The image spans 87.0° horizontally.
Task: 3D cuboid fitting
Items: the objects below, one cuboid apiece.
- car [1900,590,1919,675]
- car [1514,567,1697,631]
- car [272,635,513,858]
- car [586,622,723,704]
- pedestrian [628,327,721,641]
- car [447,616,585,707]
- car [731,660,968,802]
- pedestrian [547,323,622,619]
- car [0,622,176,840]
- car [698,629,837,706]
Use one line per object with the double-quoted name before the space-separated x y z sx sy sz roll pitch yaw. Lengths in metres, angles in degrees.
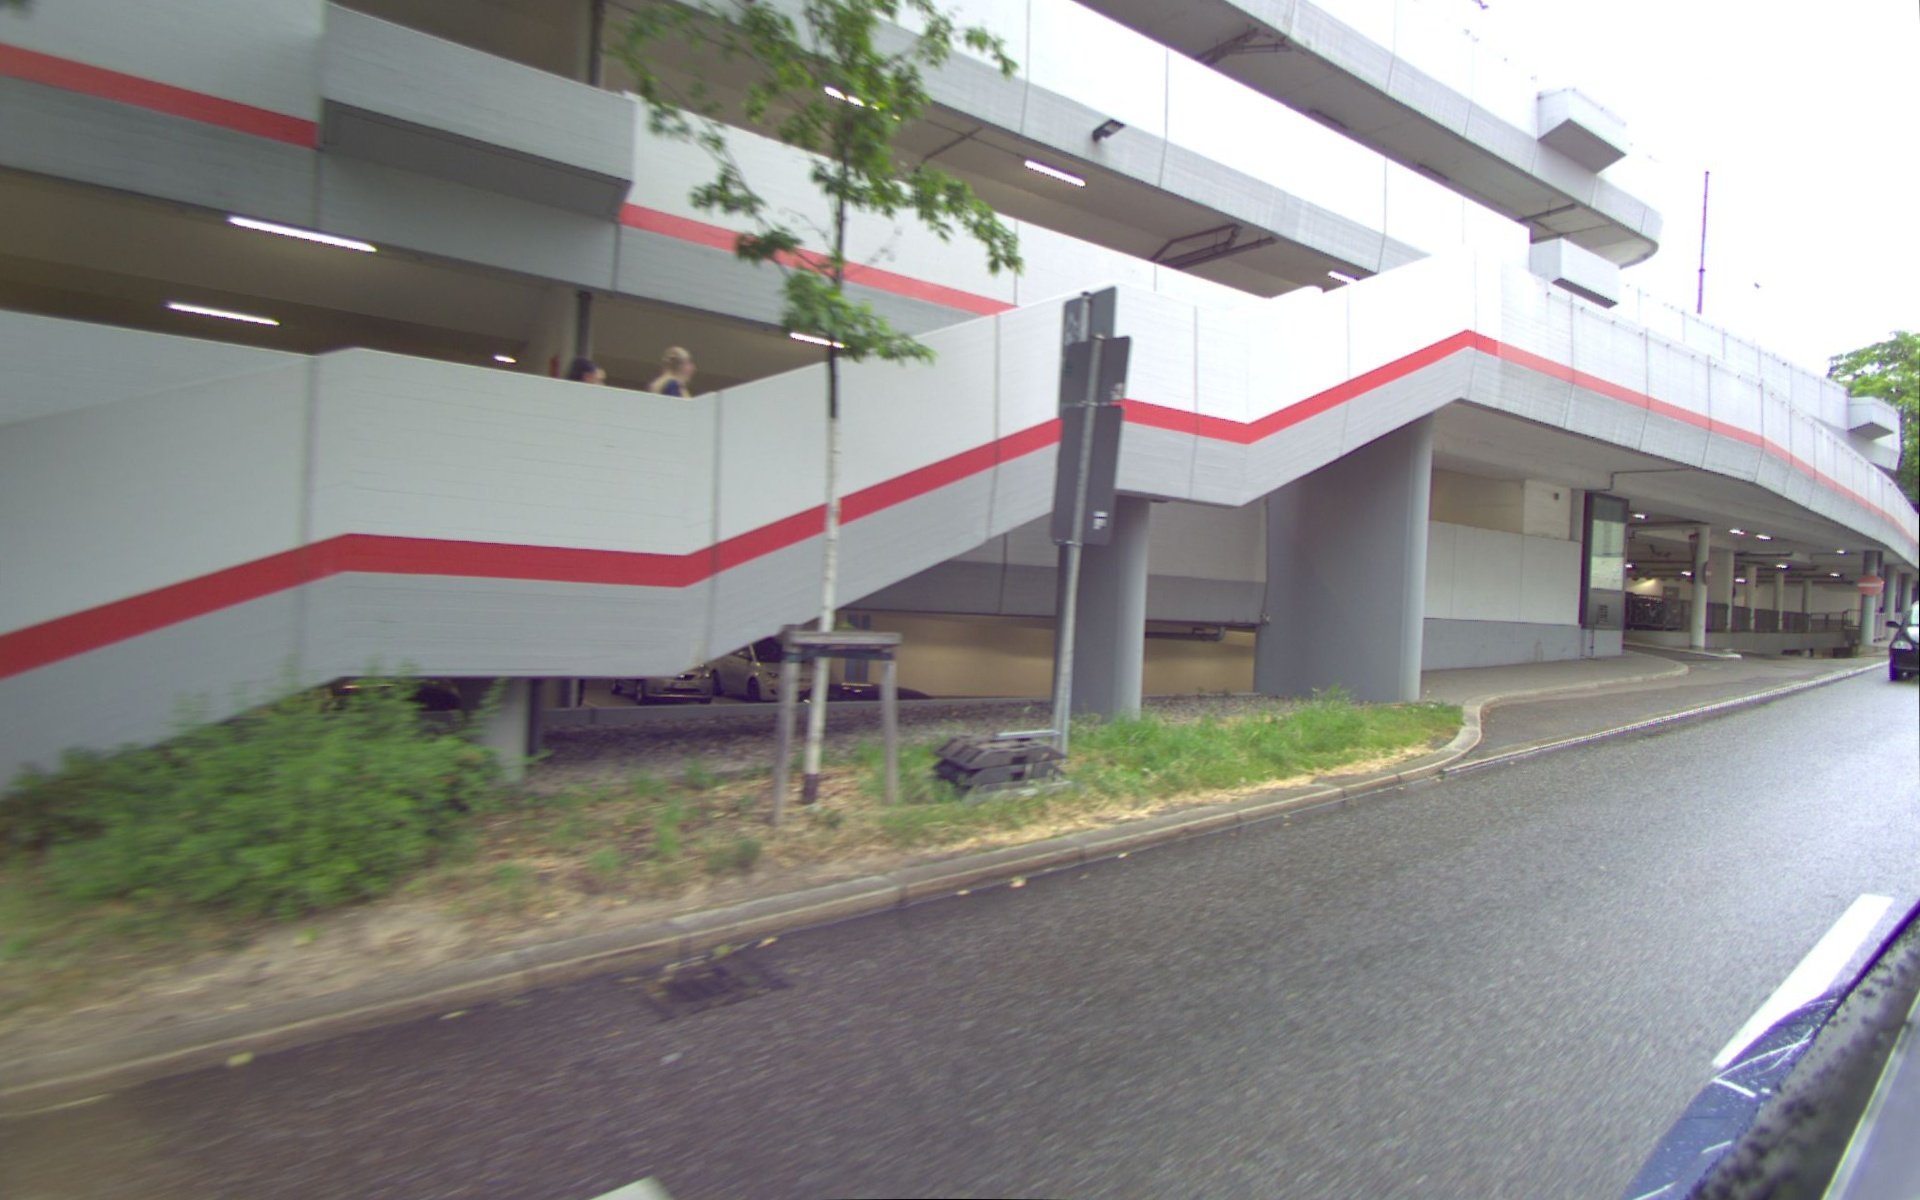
"car" 19.434 0.621 19.385 3.919 1.545 1.682 1 -1 -41
"car" 19.727 -0.053 31.092 1.960 1.682 4.261 5 -2 -31
"car" -6.088 1.299 10.618 1.803 1.644 4.000 0 1 -35
"car" -7.094 1.407 23.274 1.803 1.560 4.001 4 -2 -35
"pedestrian" -2.090 -0.815 7.401 0.484 2.181 0.515 0 1 -36
"car" -9.267 1.226 20.935 1.803 1.560 4.001 4 -2 -35
"car" -1.786 1.835 15.159 1.803 1.560 3.943 4 -2 -35
"pedestrian" -2.881 -0.956 7.755 0.426 2.181 0.422 0 1 -36
"car" -8.694 1.079 9.524 1.775 1.560 3.746 4 -2 -35
"car" -4.790 1.605 24.774 1.803 1.560 4.001 4 -2 -35
